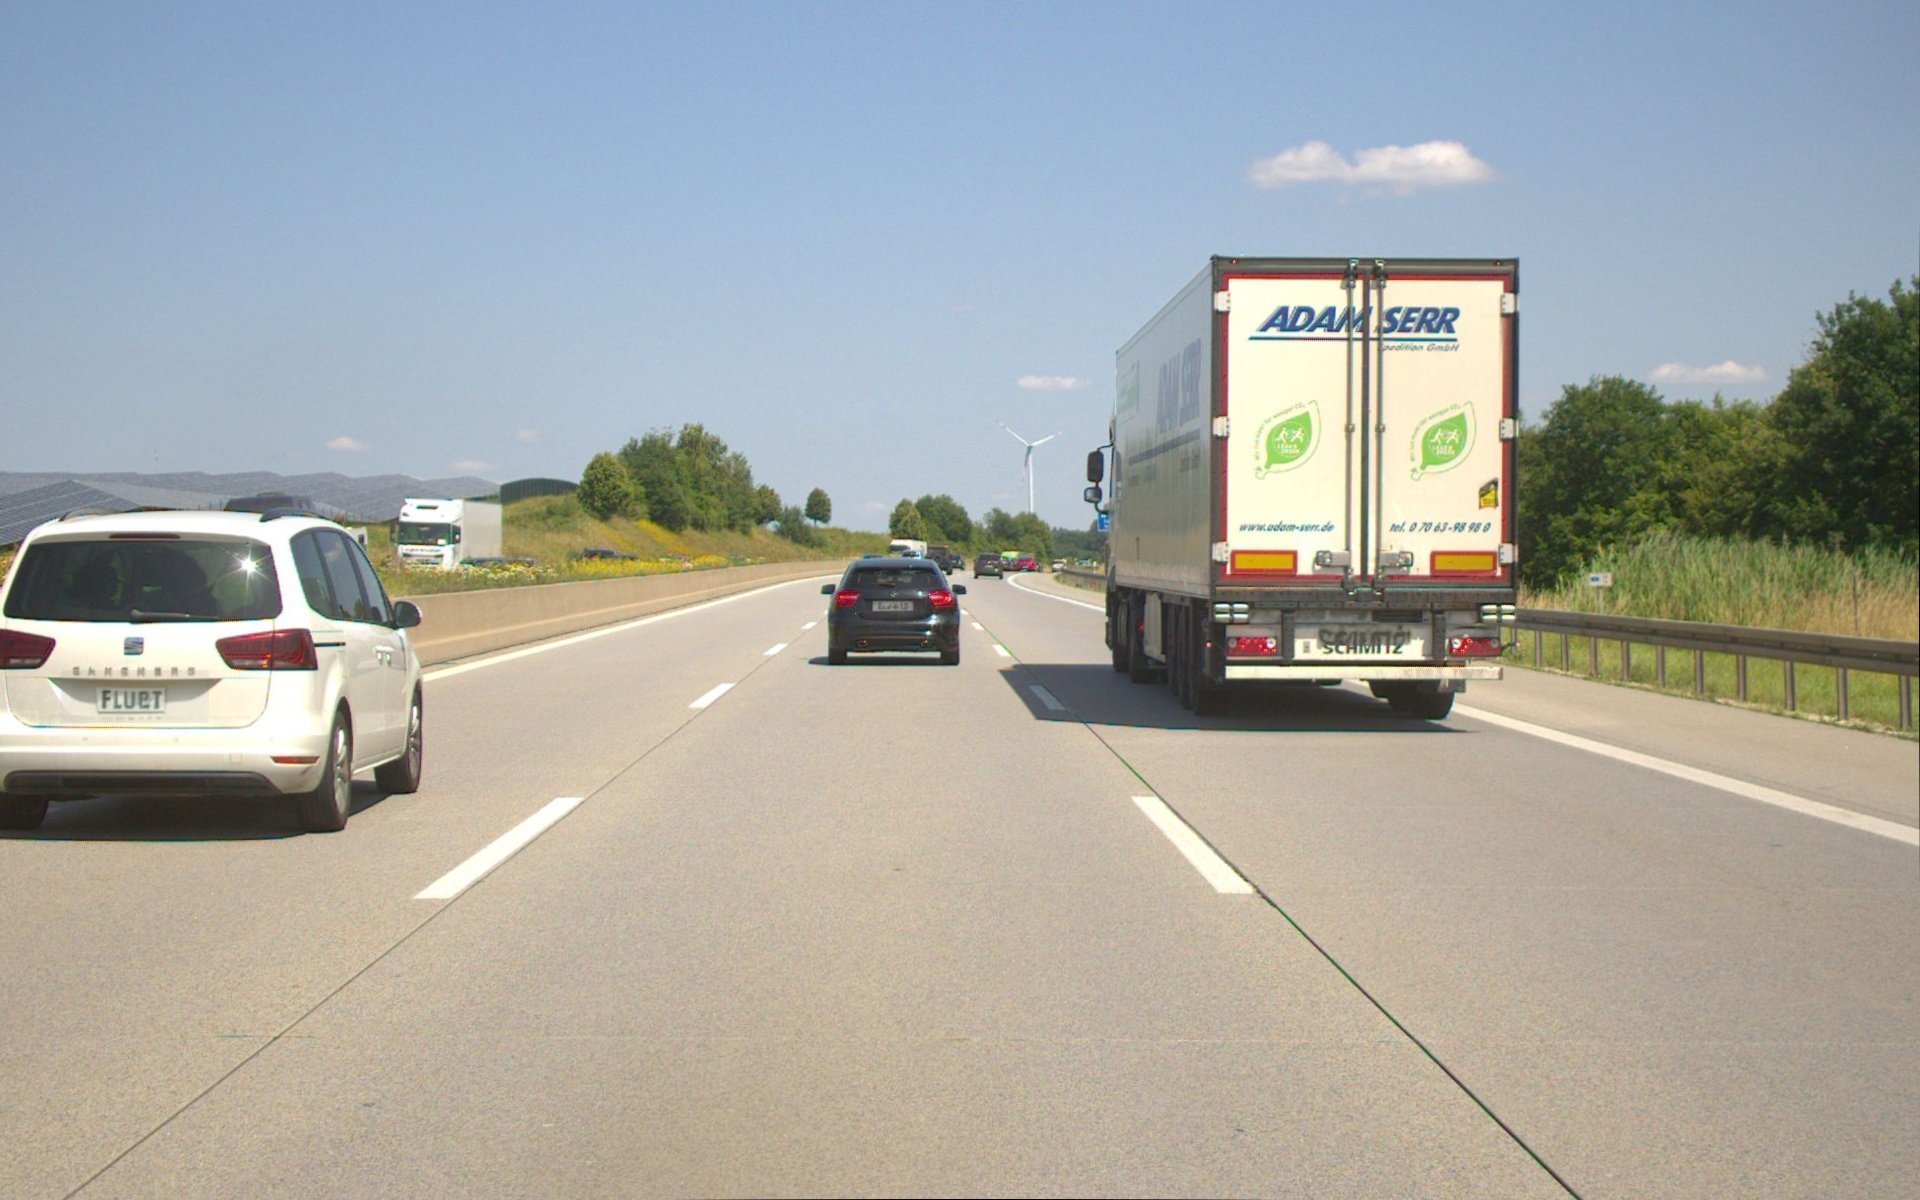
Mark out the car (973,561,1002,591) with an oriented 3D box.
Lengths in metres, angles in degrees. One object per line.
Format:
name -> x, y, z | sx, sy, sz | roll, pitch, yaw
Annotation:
car -> 1.731, -1.526, 219.658 | 1.827, 1.900, 4.000 | 1, 1, 0

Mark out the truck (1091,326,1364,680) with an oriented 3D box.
truck -> 3.224, -1.162, 42.888 | 2.812, 4.074, 5.799 | 1, 1, -1

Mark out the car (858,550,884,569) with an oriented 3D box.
car -> -6.042, -2.784, 234.596 | 1.655, 1.192, 3.960 | 3, 1, -1

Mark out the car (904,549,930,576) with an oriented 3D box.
car -> -3.062, -2.708, 246.584 | 1.827, 1.931, 3.809 | 0, 0, -1

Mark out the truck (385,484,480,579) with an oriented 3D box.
truck -> -23.113, -2.950, 150.844 | 3.090, 3.991, 7.255 | 1, 0, -1

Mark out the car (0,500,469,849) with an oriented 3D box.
car -> -4.197, 0.347, 20.080 | 1.845, 1.702, 6.036 | 1, 0, -1

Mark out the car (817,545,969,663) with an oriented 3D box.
car -> -0.961, 0.016, 47.156 | 1.910, 1.487, 4.192 | 1, 1, -3

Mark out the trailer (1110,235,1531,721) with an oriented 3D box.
trailer -> 3.293, -1.106, 35.154 | 2.852, 4.029, 12.714 | 1, 1, 0
